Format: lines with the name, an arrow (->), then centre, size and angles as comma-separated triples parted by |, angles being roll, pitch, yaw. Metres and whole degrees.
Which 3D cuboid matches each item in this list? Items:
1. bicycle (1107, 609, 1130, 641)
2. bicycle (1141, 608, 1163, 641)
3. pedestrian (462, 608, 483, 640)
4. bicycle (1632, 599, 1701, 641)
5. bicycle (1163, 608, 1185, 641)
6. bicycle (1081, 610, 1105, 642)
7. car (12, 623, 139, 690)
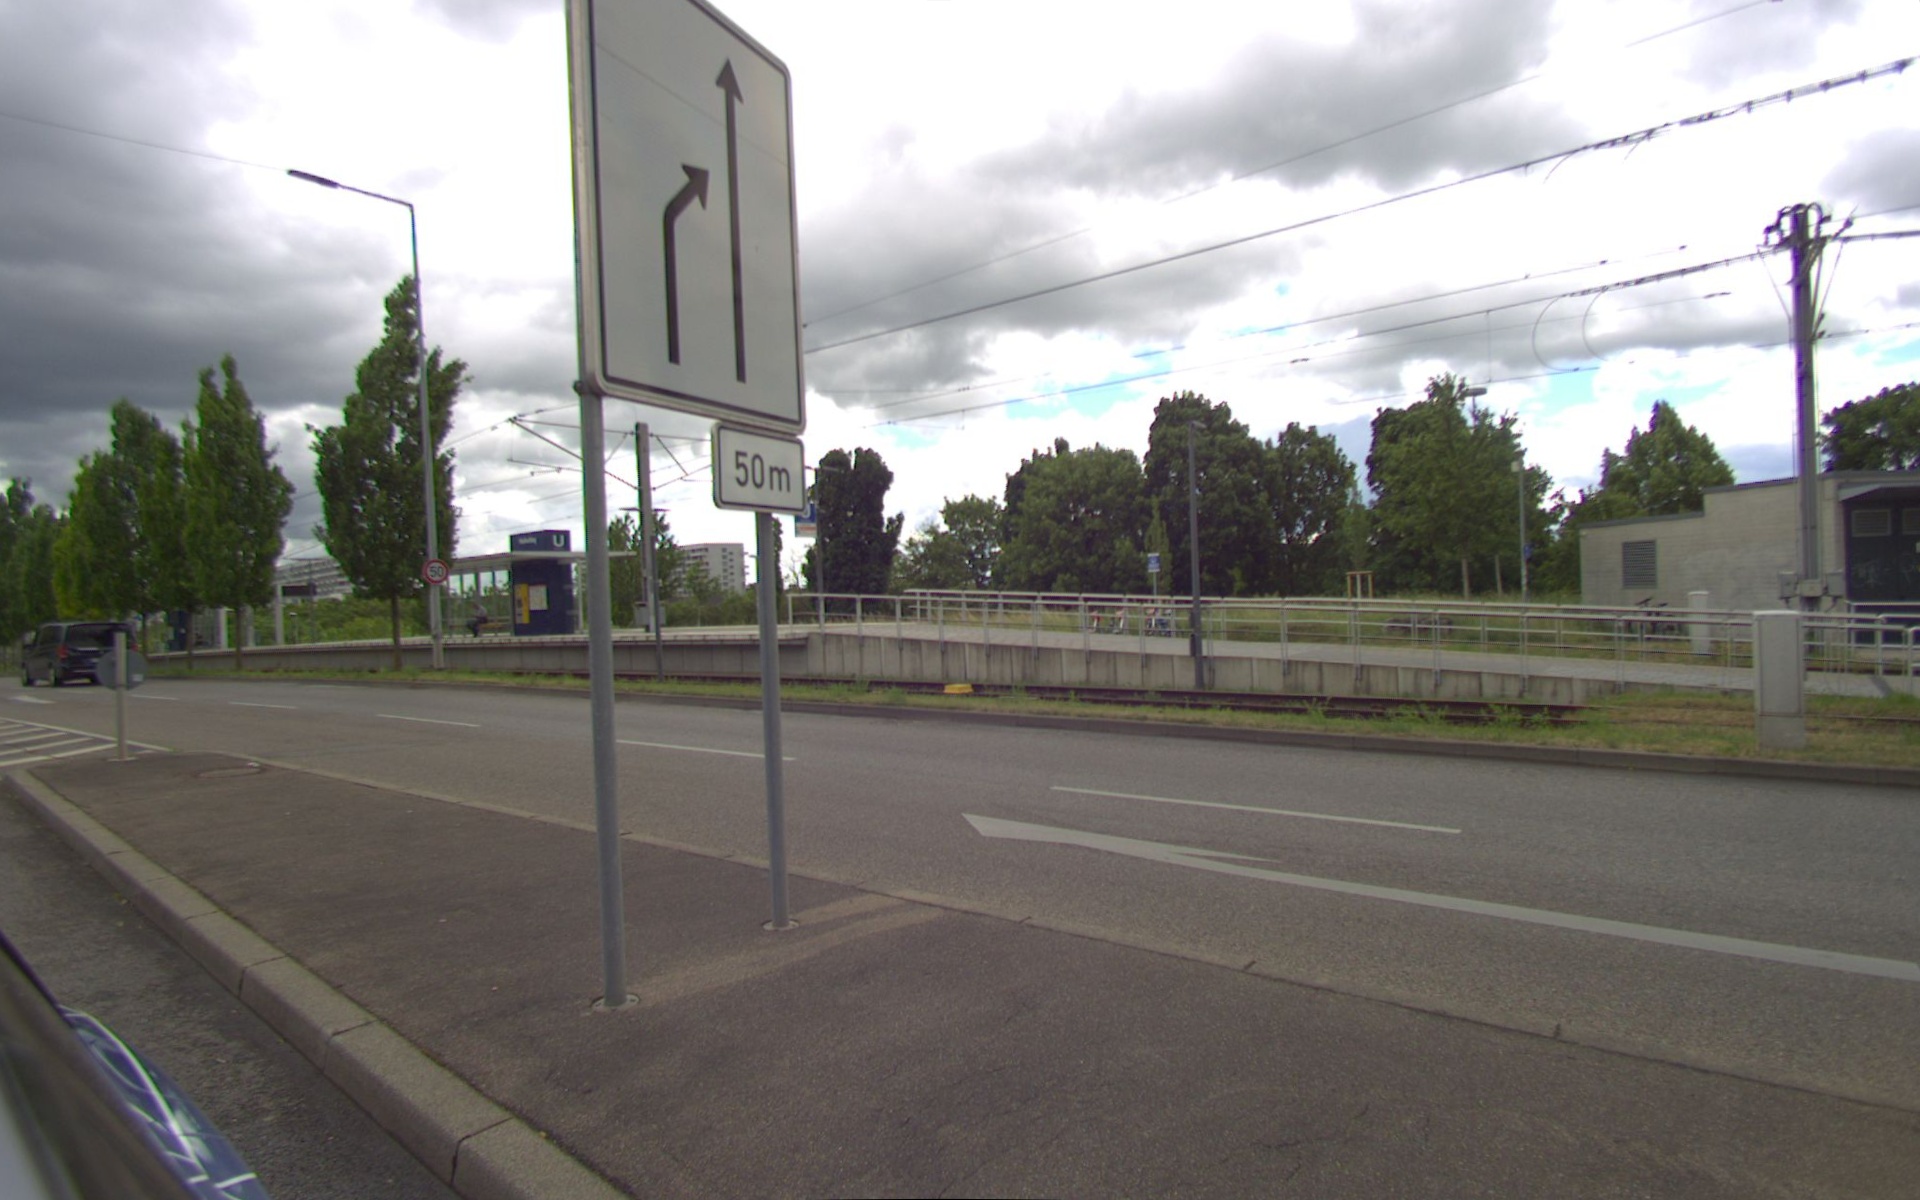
bicycle -> 5.400, 0.844, 34.444 | 0.531, 1.039, 1.804 | -1, 0, 16
bicycle -> 6.457, 0.818, 33.991 | 0.531, 1.039, 1.804 | -1, 0, 16
pedestrian -> -18.253, 0.903, 37.889 | 0.447, 1.163, 0.593 | -1, 0, 41
bicycle -> 18.184, 0.502, 26.103 | 0.529, 1.039, 1.813 | -1, 0, 1
bicycle -> 7.131, 0.801, 33.669 | 0.531, 1.039, 1.804 | -1, 0, 16
bicycle -> 4.588, 0.878, 34.907 | 0.531, 1.039, 1.804 | -1, 0, 16
car -> -26.791, 1.678, 30.587 | 5.083, 1.826, 1.870 | -2, -2, 37
